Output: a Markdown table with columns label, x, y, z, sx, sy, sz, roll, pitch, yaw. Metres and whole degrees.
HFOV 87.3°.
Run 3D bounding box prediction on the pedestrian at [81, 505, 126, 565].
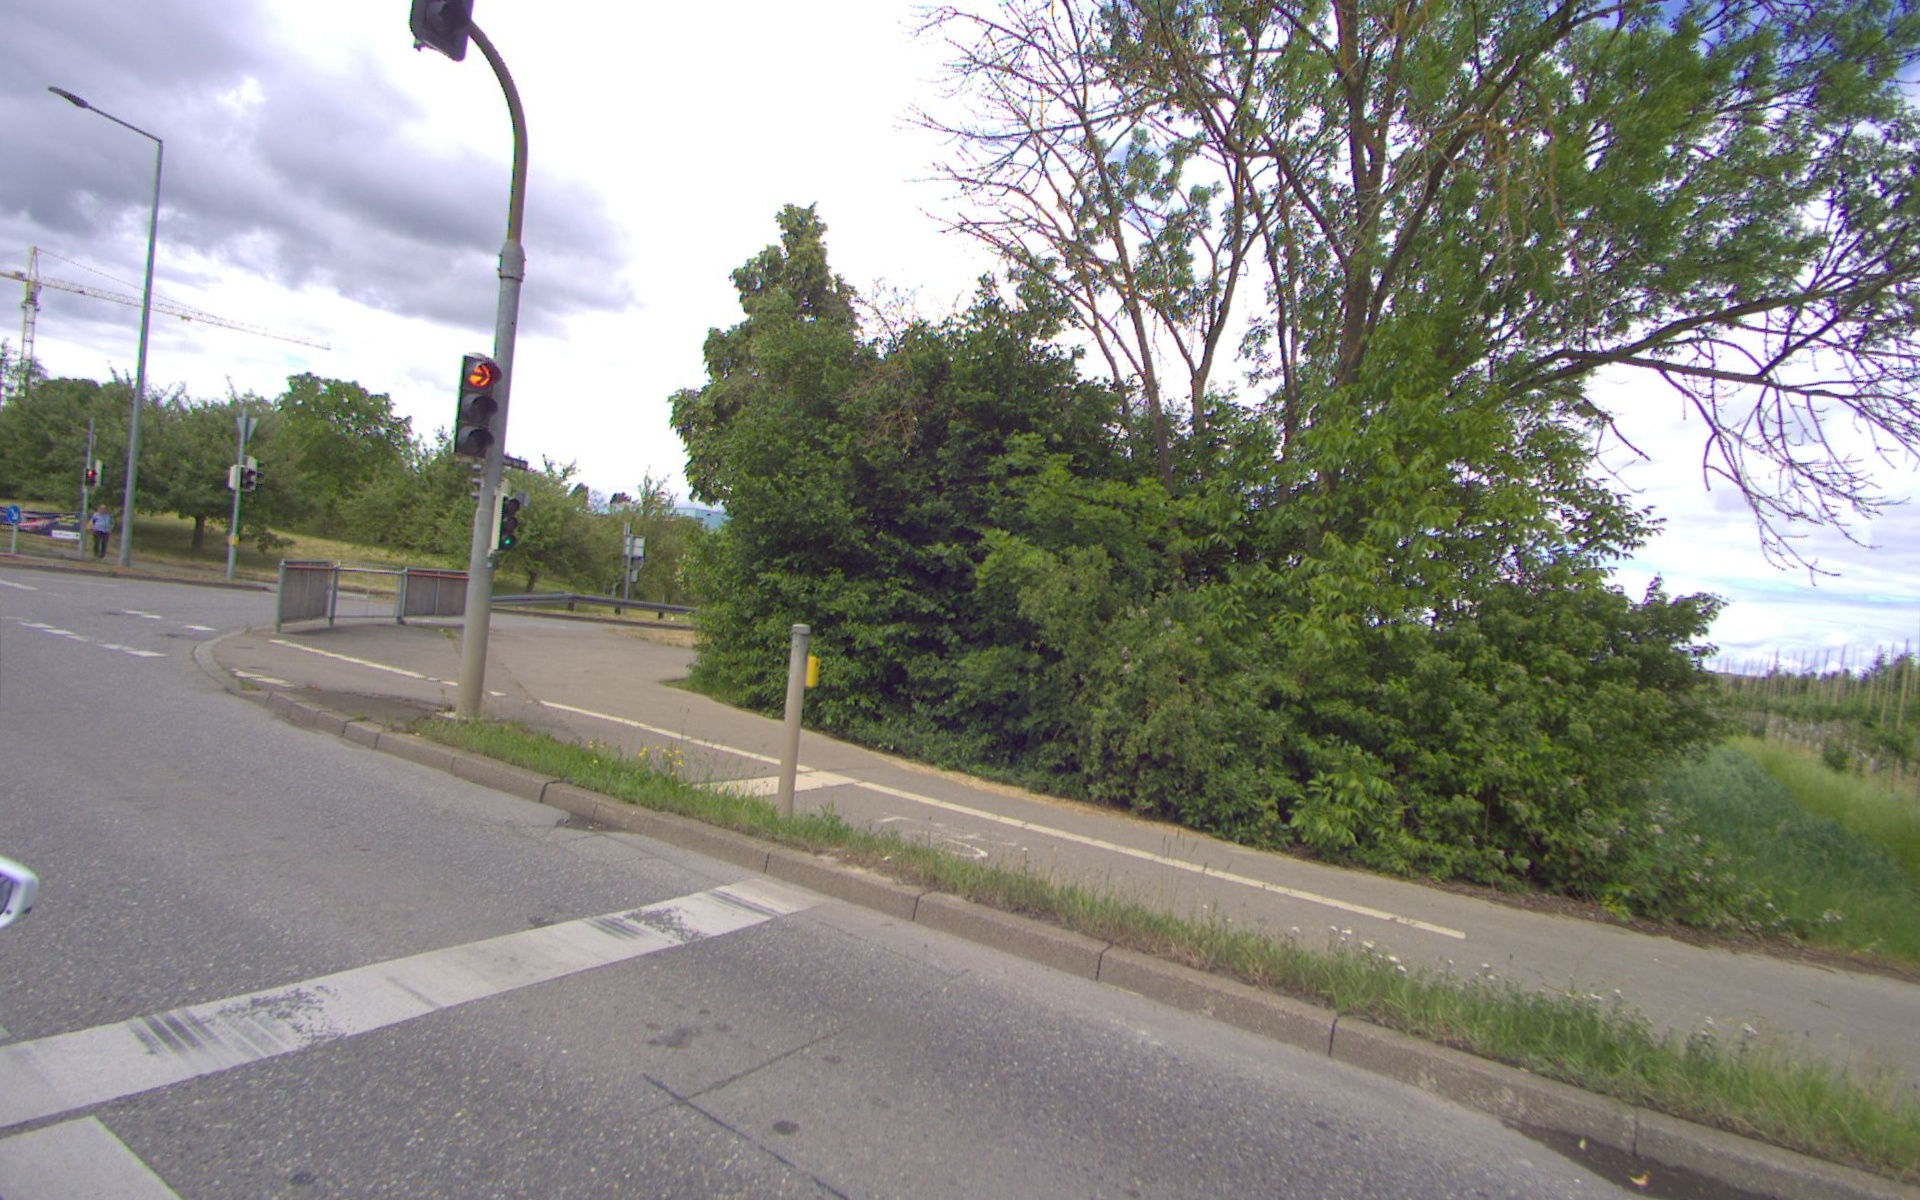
| label | x | y | z | sx | sy | sz | roll | pitch | yaw |
| --- | --- | --- | --- | --- | --- | --- | --- | --- | --- |
| pedestrian | -28.130 | -2.129 | 33.033 | 1.027 | 1.813 | 0.719 | 6 | -1 | 35 |
